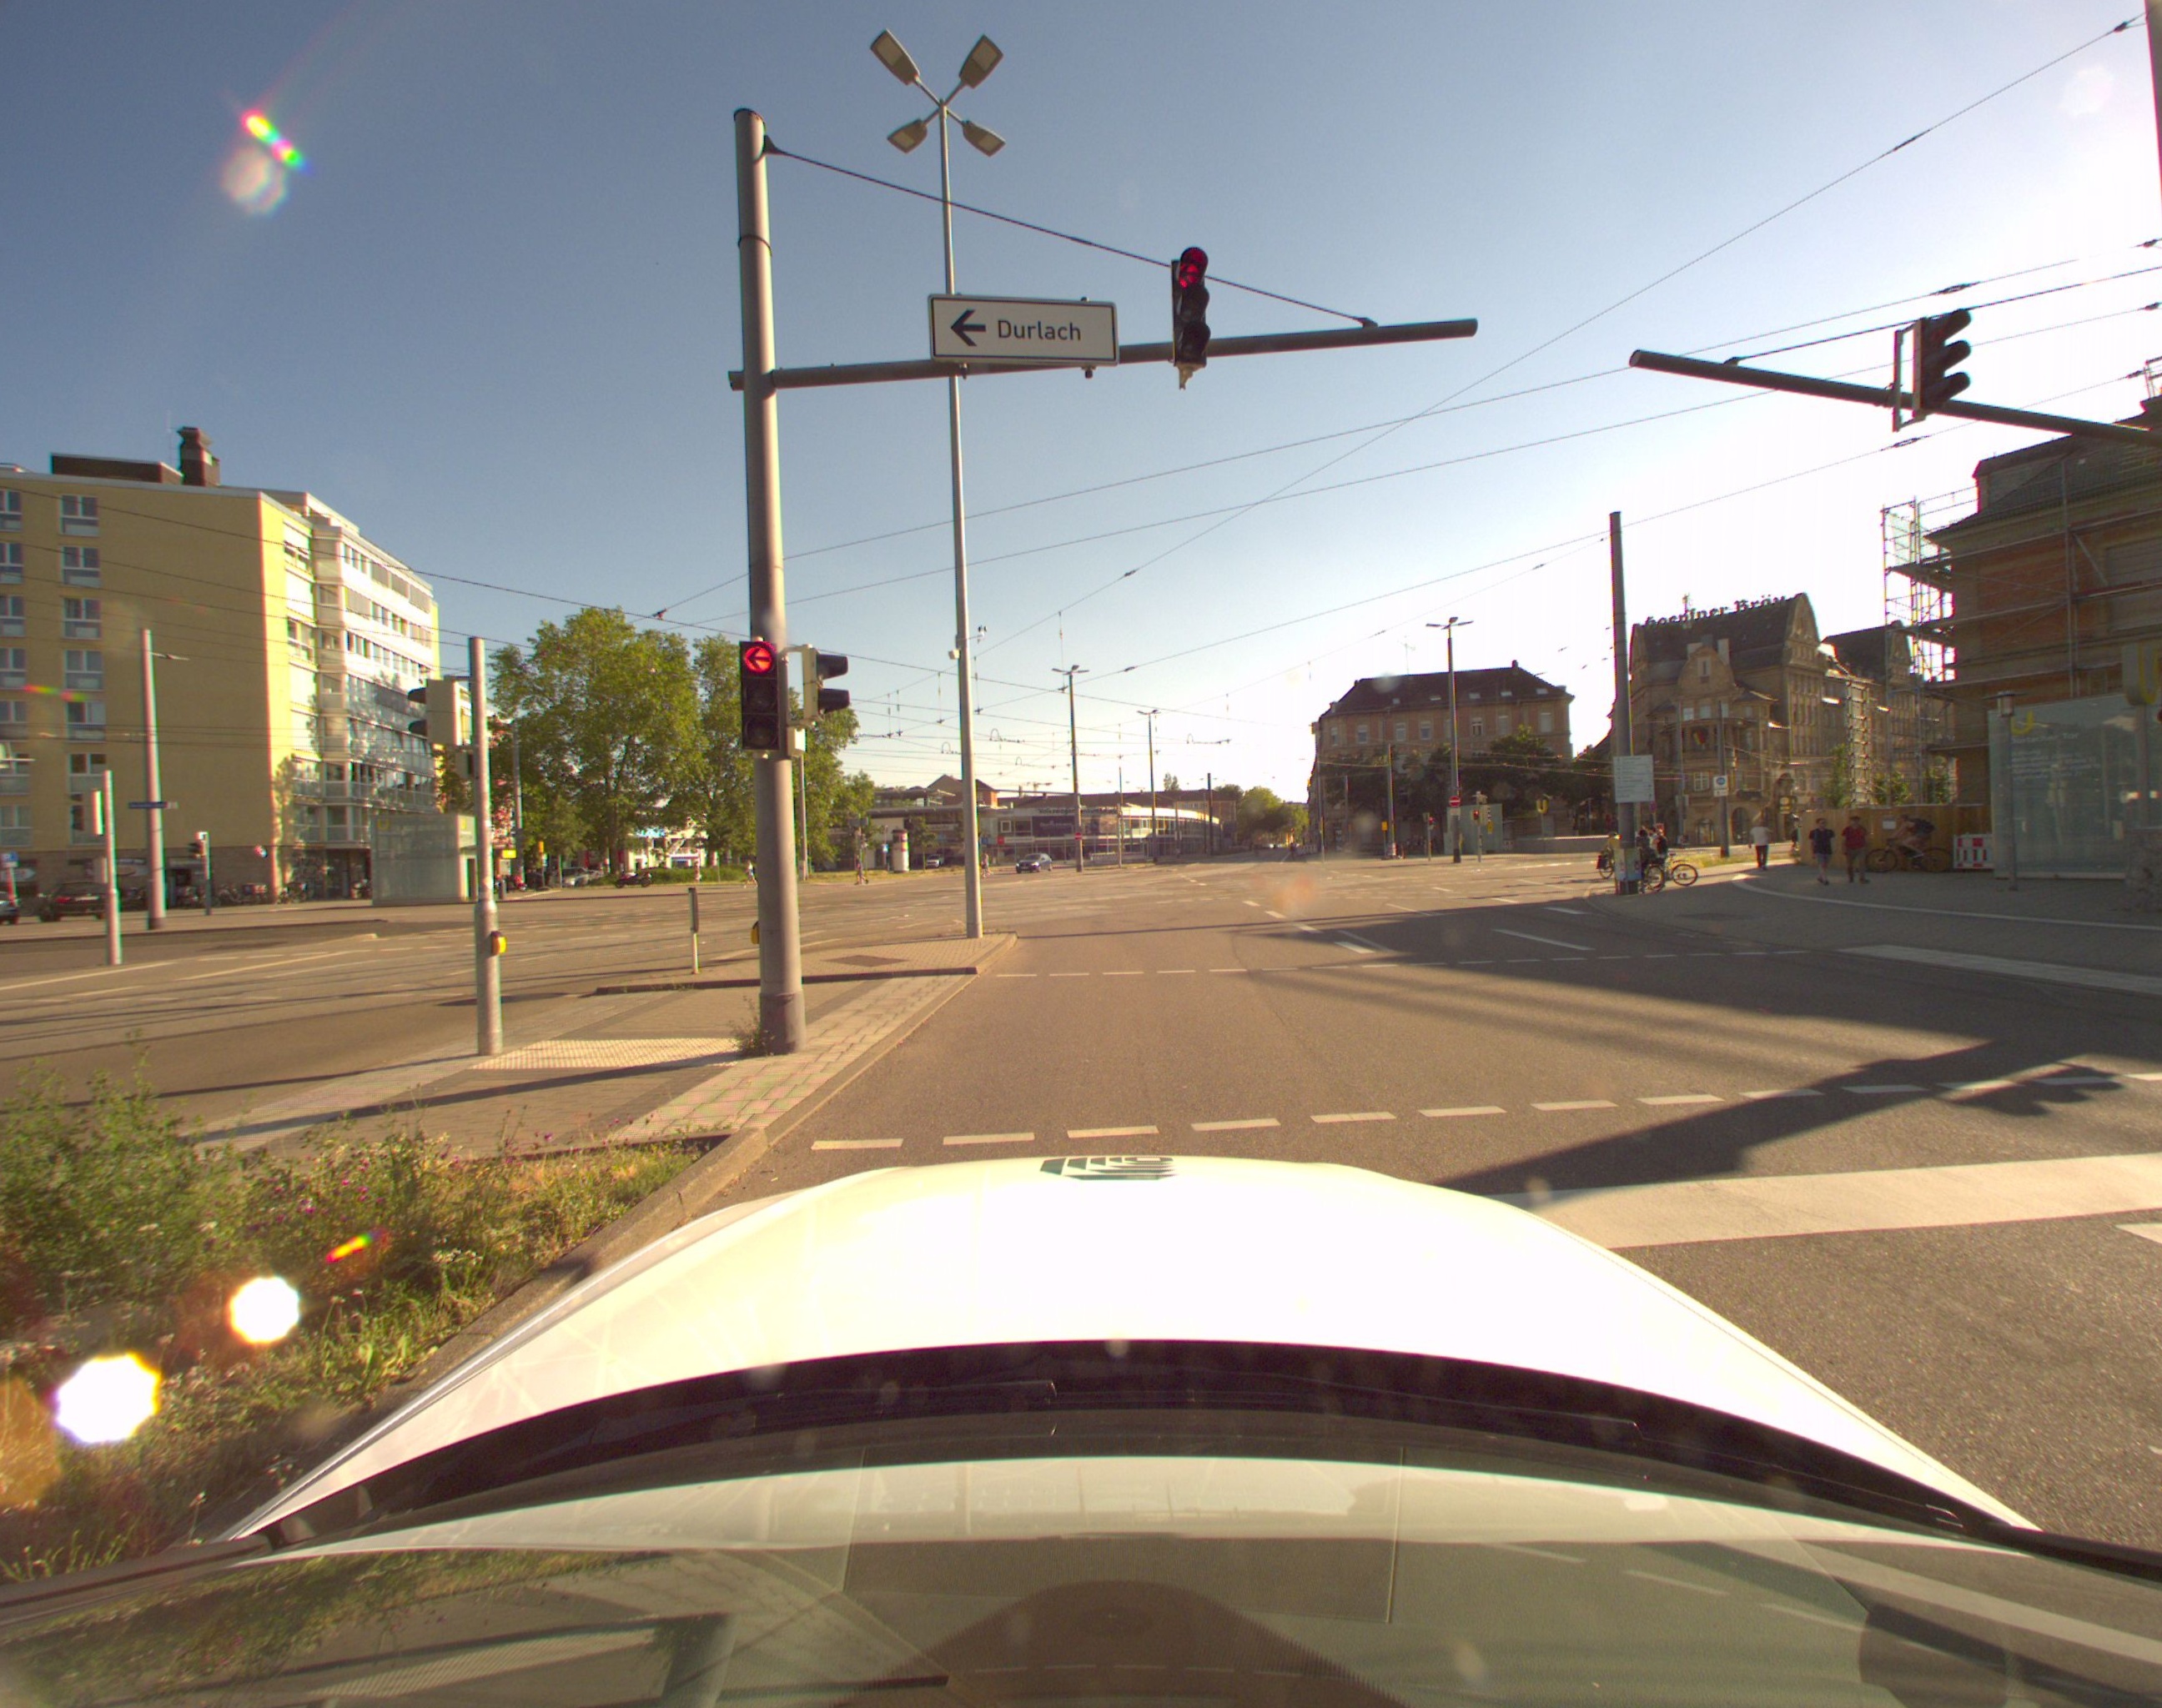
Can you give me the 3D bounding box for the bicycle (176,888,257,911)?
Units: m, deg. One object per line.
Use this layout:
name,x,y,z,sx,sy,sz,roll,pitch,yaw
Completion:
bicycle,-46.235,2.422,43.590,3.041,1.151,0.637,0,-1,-16

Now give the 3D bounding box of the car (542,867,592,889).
car,-37.308,1.718,59.236,1.772,1.567,3.983,0,-1,-12

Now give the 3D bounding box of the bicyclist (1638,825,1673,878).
bicyclist,15.922,-0.067,22.592,0.701,1.439,0.953,-1,-1,30

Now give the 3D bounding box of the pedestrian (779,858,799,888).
pedestrian,-16.659,1.069,46.431,0.790,1.706,0.760,-1,-1,9

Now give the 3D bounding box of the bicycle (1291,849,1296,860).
bicycle,18.629,0.071,71.304,0.407,0.941,1.852,-1,-1,15

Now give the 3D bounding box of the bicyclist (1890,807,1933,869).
bicyclist,24.157,-0.457,23.700,0.785,1.779,0.526,-1,-1,37

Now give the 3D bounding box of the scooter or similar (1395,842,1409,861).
scooter or similar,24.741,-0.178,62.742,0.780,1.376,1.916,-1,-1,16

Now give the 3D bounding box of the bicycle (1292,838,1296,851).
bicycle,34.429,-1.502,131.816,0.613,2.014,2.410,-1,-1,16

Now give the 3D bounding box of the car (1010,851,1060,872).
car,-3.441,0.563,62.015,1.975,1.585,4.024,-1,-1,29

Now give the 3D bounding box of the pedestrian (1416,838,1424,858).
pedestrian,35.665,-0.623,85.698,0.598,2.013,0.649,-2,0,16

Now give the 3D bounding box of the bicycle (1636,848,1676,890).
bicycle,15.871,0.396,22.506,0.692,1.049,2.335,-2,0,31

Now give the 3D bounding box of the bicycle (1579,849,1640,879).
bicycle,19.169,0.344,29.592,0.533,1.049,2.315,0,1,-6

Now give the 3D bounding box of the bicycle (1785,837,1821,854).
bicycle,40.389,-0.461,45.548,2.637,0.914,0.898,0,-1,-35

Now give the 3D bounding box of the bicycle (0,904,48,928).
bicycle,-54.535,3.130,41.164,3.041,1.151,0.637,0,-1,-16

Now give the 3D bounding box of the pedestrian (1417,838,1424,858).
pedestrian,35.253,-0.629,84.575,0.598,2.013,0.649,-2,0,16

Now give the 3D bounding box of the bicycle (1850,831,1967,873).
bicycle,24.065,-0.038,23.746,2.290,1.049,0.539,-5,-1,36

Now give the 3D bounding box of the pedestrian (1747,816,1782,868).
pedestrian,24.156,-0.430,28.782,0.646,1.814,0.689,0,-1,-6

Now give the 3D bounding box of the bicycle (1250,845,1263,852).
bicycle,22.161,-0.689,102.926,0.661,0.952,1.585,0,-1,-28

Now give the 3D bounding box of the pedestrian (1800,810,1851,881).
pedestrian,19.355,-0.221,21.179,0.672,1.807,0.680,-3,0,-19

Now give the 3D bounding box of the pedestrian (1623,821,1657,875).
pedestrian,21.003,-0.227,30.617,0.730,2.014,0.760,0,-1,-6

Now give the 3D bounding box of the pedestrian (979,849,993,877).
pedestrian,-6.404,0.584,54.869,0.790,1.886,0.760,-1,-1,9

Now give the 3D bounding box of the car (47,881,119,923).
car,-44.234,2.073,36.079,3.948,1.706,1.730,-1,-1,35

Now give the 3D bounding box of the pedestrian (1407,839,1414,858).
pedestrian,34.534,-0.581,85.412,0.598,2.013,0.649,-2,0,16

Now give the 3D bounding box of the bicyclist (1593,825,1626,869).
bicyclist,19.170,-0.241,29.558,0.514,1.557,0.945,0,-1,-6

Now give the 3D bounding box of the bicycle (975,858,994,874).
bicycle,-7.109,0.872,59.975,0.607,1.189,1.878,-1,-1,19

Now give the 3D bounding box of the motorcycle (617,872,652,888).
motorcycle,-27.264,1.576,49.755,1.779,0.914,0.675,0,-1,-19

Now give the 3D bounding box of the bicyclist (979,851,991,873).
bicyclist,-7.062,0.573,60.097,0.593,1.615,0.826,-1,-1,19

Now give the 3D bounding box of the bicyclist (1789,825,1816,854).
bicyclist,40.305,-0.806,45.497,1.046,1.547,0.842,0,-1,-34

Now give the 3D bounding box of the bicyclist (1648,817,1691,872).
bicyclist,17.155,-0.274,23.760,0.935,1.557,0.715,-1,-1,32

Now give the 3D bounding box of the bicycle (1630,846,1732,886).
bicycle,17.350,0.363,23.633,2.290,1.049,0.705,-3,-2,32

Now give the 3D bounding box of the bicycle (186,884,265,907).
bicycle,-46.449,2.256,44.228,3.041,1.151,0.637,0,-1,-16

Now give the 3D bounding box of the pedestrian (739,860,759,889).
pedestrian,-19.803,1.206,48.582,0.790,1.706,0.760,-1,-1,9

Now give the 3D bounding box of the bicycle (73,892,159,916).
bicycle,-50.278,2.601,42.474,3.041,1.151,0.637,0,-1,-16

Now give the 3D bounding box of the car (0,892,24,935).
car,-47.032,2.542,34.824,3.948,1.706,2.013,-1,-1,35

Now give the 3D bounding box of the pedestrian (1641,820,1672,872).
pedestrian,21.732,-0.289,30.768,0.646,1.922,0.689,0,-1,-6

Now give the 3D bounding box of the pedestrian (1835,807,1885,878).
pedestrian,20.232,-0.289,21.157,0.672,1.807,0.680,0,-1,-19

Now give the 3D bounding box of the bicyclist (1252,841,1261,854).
bicyclist,22.167,-0.826,102.933,0.775,1.577,0.755,0,-1,-27

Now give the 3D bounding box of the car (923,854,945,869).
car,-18.020,0.889,100.029,1.988,1.750,3.997,0,-1,-2

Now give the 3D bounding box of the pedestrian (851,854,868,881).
pedestrian,-13.954,0.852,51.230,0.790,1.706,0.760,-1,-1,9

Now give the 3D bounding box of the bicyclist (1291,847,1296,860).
bicyclist,18.657,-0.020,71.389,0.405,1.116,0.400,-1,-1,13

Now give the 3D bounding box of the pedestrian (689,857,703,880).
pedestrian,-29.413,1.096,62.205,0.854,1.694,0.497,0,-1,-1
